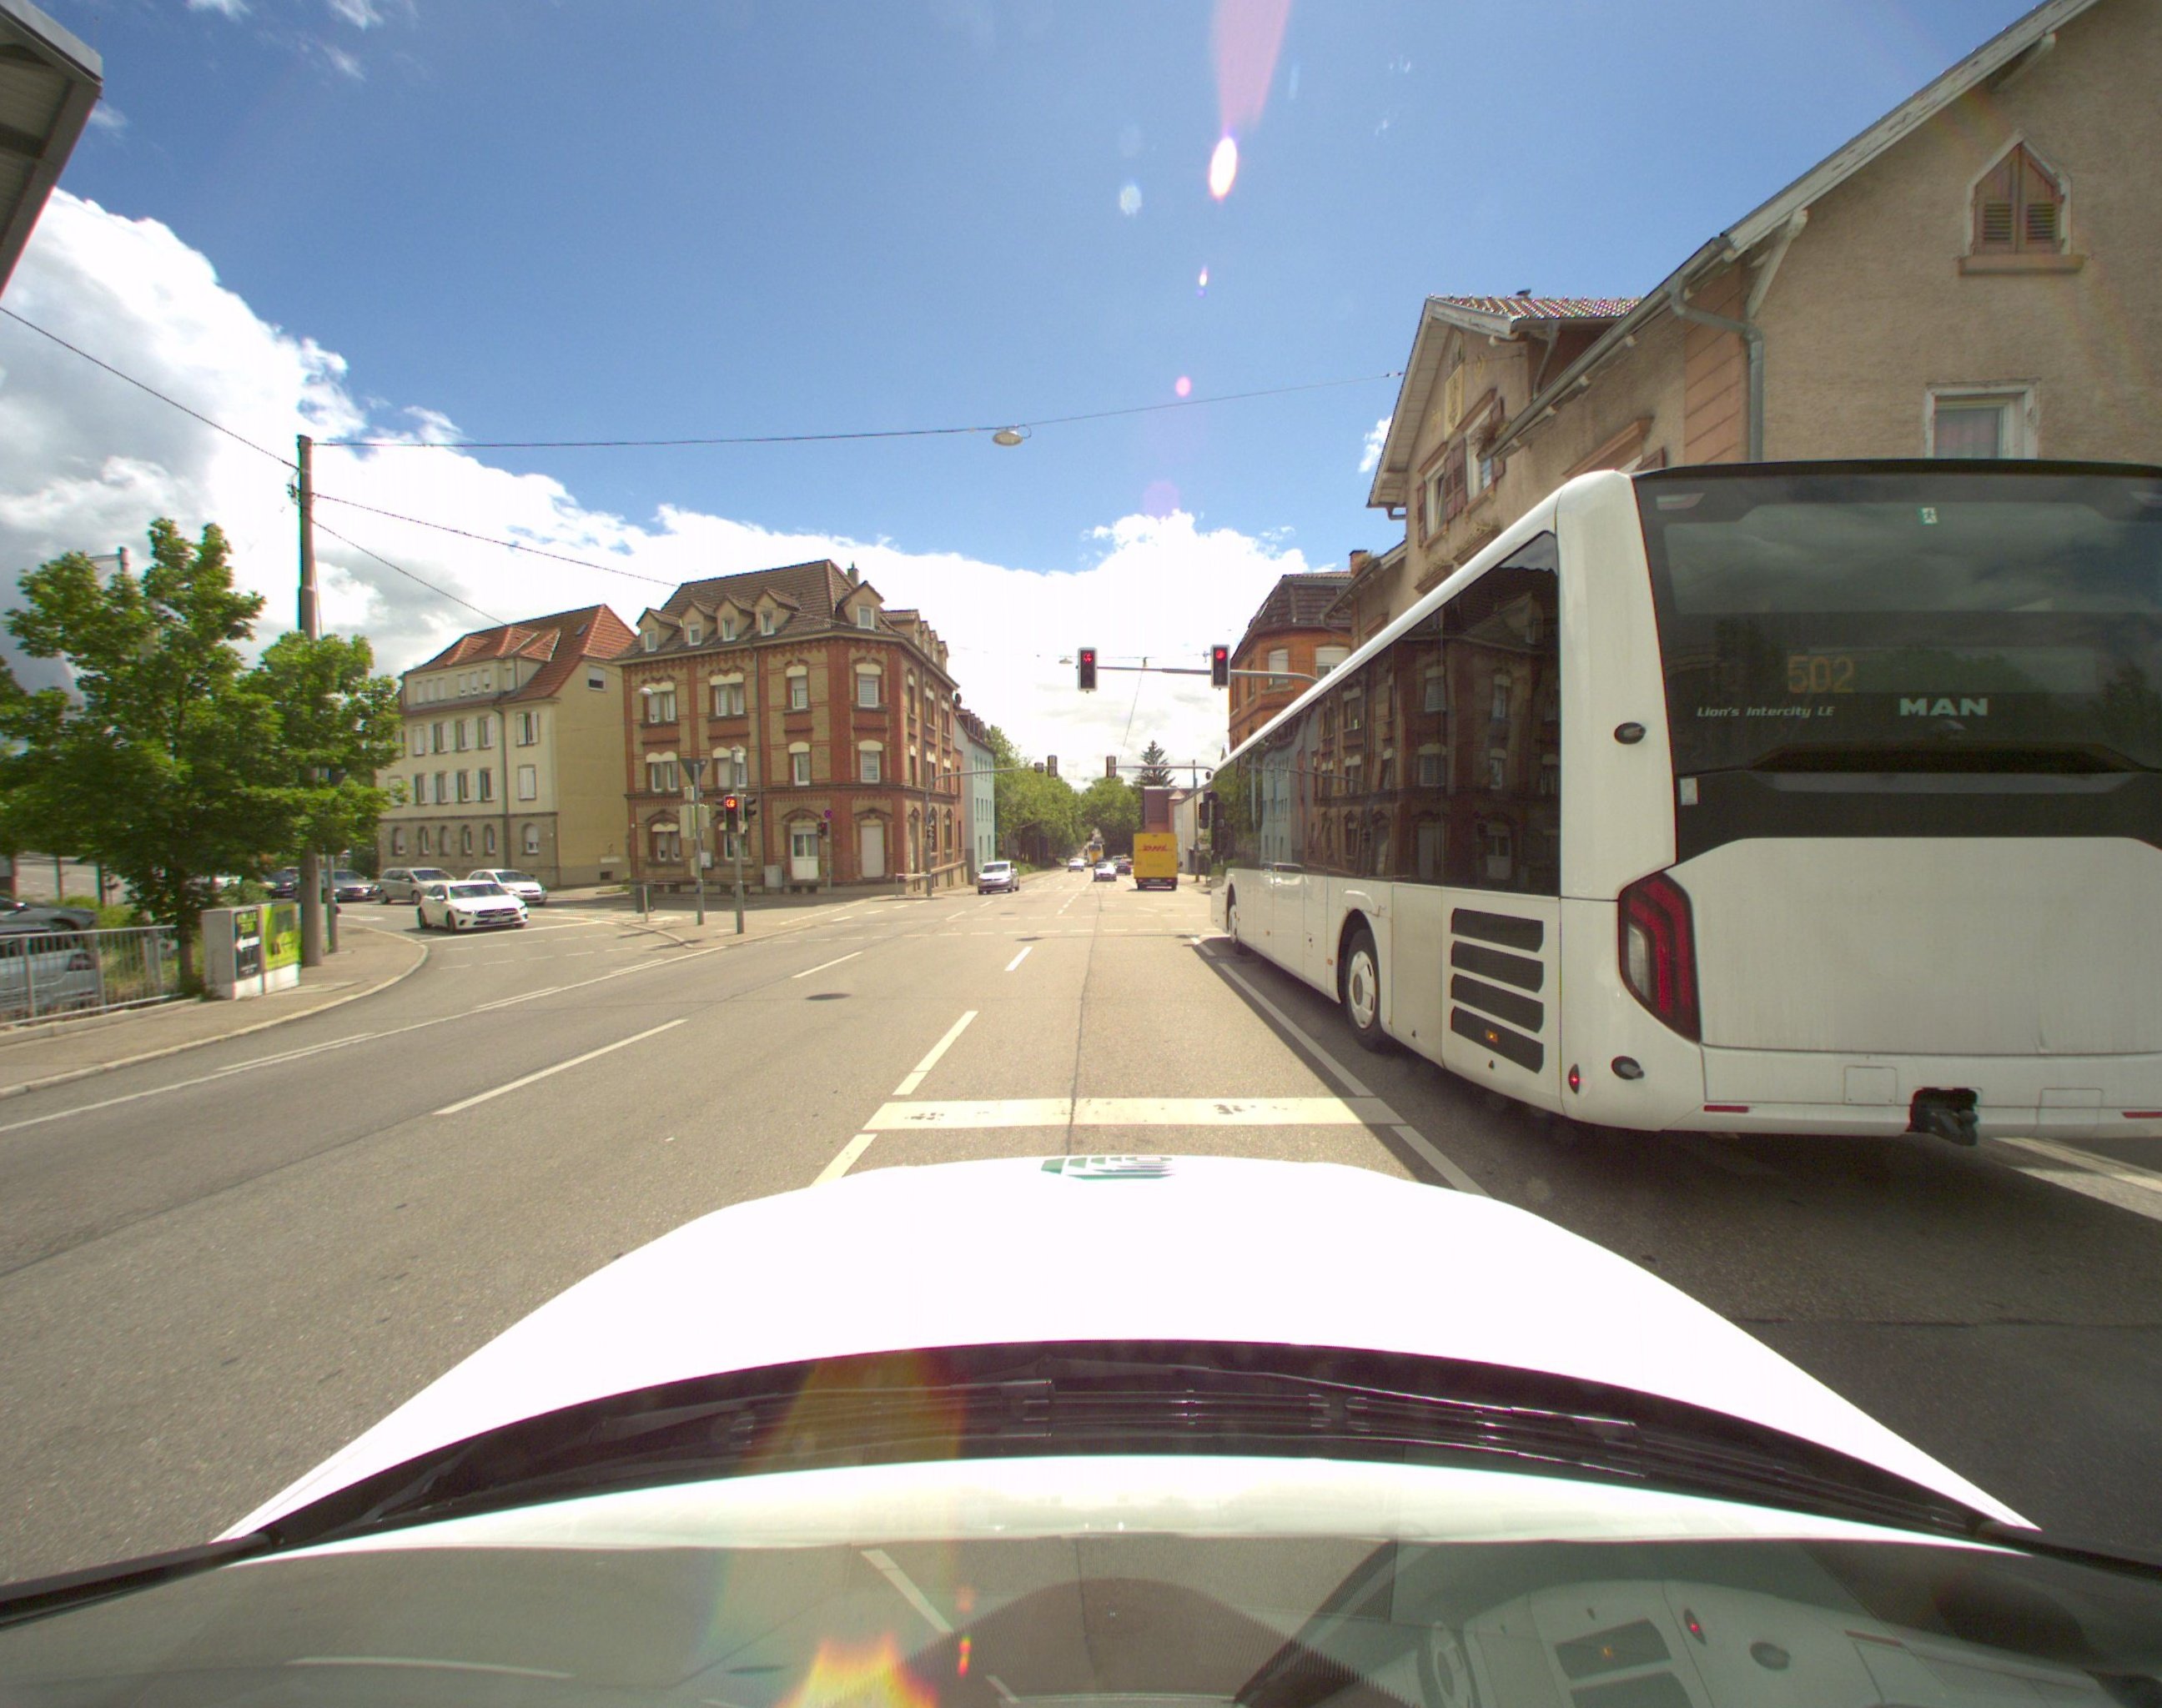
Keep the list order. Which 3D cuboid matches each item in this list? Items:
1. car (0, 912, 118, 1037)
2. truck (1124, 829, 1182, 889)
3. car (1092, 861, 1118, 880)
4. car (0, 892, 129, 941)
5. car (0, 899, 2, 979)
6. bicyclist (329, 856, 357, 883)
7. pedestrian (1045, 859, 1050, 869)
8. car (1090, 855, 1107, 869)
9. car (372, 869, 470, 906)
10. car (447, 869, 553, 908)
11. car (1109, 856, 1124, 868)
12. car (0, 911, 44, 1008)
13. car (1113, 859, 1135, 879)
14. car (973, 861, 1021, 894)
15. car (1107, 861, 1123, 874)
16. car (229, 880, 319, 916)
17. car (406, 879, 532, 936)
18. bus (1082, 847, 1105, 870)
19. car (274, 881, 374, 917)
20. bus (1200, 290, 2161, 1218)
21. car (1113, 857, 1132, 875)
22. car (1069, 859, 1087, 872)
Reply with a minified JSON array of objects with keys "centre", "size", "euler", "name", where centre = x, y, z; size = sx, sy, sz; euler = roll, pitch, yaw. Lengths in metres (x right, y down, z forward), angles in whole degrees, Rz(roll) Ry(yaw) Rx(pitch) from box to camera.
[{"centre":[-16.120,1.736,12.189],"size":[3.638,1.575,1.766],"euler":[-1,-2,34],"name":"car"},{"centre":[3.941,0.269,43.421],"size":[2.526,2.913,6.589],"euler":[-1,-1,9],"name":"truck"},{"centre":[1.812,1.221,61.710],"size":[1.858,1.367,4.549],"euler":[-2,0,2],"name":"car"},{"centre":[-29.257,1.727,22.221],"size":[1.795,1.186,4.025],"euler":[-1,0,31],"name":"car"},{"centre":[-23.407,1.732,16.439],"size":[3.371,1.575,1.526],"euler":[-1,0,30],"name":"car"},{"centre":[-42.124,0.905,46.490],"size":[1.065,1.499,0.592],"euler":[-2,0,10],"name":"bicyclist"},{"centre":[-5.626,1.646,136.883],"size":[0.604,1.758,0.653],"euler":[-2,0,0],"name":"pedestrian"},{"centre":[2.334,1.122,111.601],"size":[2.086,1.830,4.140],"euler":[-1,0,-1],"name":"car"},{"centre":[-29.210,1.468,36.055],"size":[3.951,1.519,1.757],"euler":[-1,0,24],"name":"car"},{"centre":[-23.602,1.390,33.068],"size":[3.951,1.497,1.711],"euler":[-1,0,24],"name":"car"},{"centre":[5.620,1.264,129.698],"size":[2.086,1.830,4.140],"euler":[-1,0,-1],"name":"car"},{"centre":[-19.715,1.828,14.159],"size":[3.744,1.523,1.526],"euler":[-1,0,30],"name":"car"},{"centre":[4.465,1.552,85.020],"size":[1.987,2.013,3.999],"euler":[-2,0,0],"name":"car"},{"centre":[-4.417,1.211,43.578],"size":[1.928,1.563,4.390],"euler":[-2,0,2],"name":"car"},{"centre":[4.067,1.598,98.102],"size":[1.858,1.367,4.549],"euler":[-2,0,2],"name":"car"},{"centre":[-39.861,2.128,40.213],"size":[4.291,1.586,2.012],"euler":[-1,0,29],"name":"car"},{"centre":[-18.248,1.538,24.222],"size":[4.334,1.447,1.875],"euler":[-2,0,37],"name":"car"},{"centre":[2.041,0.686,136.509],"size":[3.291,3.631,11.237],"euler":[-2,0,-1],"name":"bus"},{"centre":[-35.454,2.077,38.148],"size":[3.951,1.519,2.011],"euler":[-1,0,24],"name":"car"},{"centre":[3.540,-0.336,9.329],"size":[2.893,3.510,12.492],"euler":[0,-1,2],"name":"bus"},{"centre":[4.325,1.233,84.914],"size":[1.812,1.784,4.002],"euler":[-2,0,2],"name":"car"},{"centre":[-0.400,1.508,106.938],"size":[2.199,1.613,4.549],"euler":[-2,0,2],"name":"car"}]
